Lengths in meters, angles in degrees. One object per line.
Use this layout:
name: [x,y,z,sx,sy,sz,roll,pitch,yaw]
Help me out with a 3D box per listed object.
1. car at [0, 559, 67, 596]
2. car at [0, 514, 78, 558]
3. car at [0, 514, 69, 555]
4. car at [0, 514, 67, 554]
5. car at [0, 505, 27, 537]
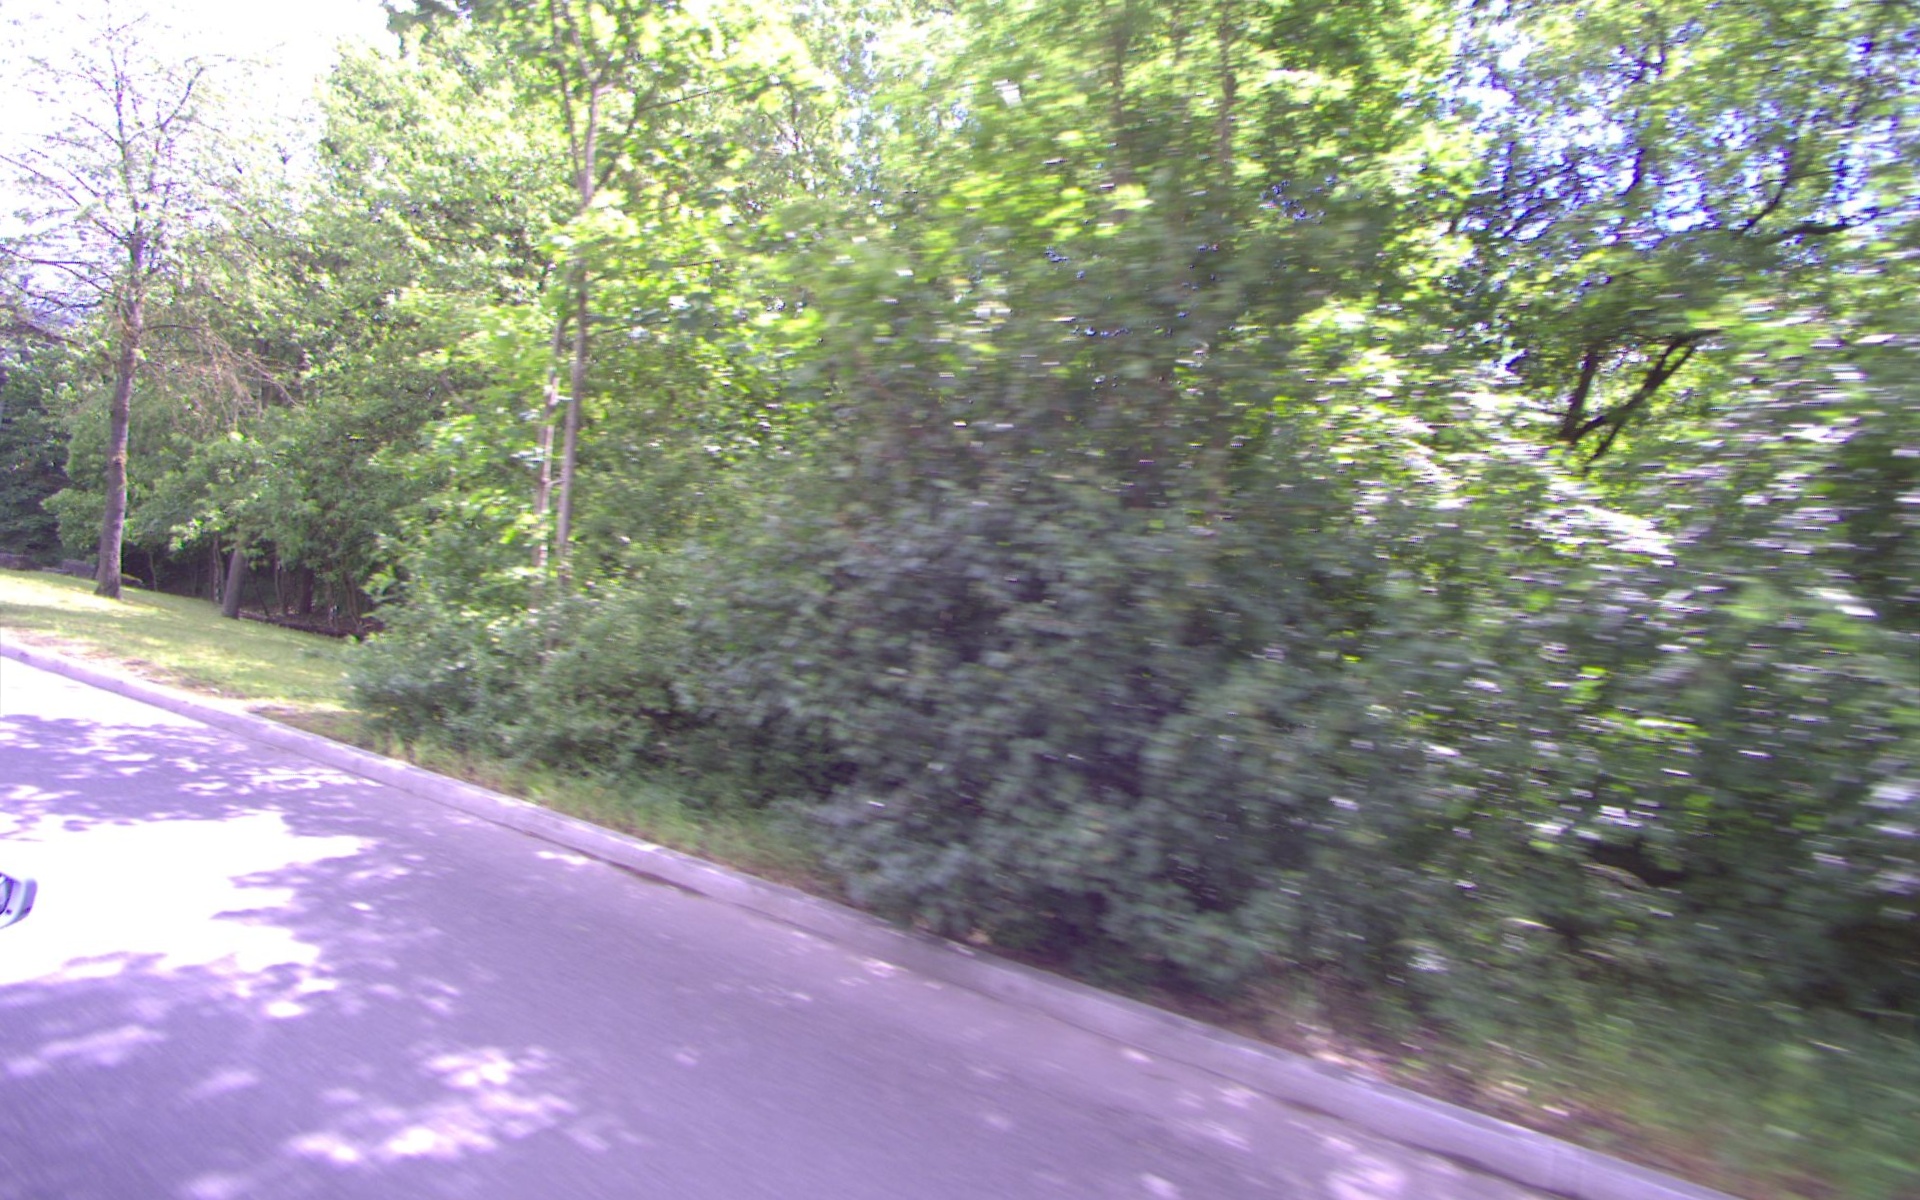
car: [-52.635,-1.372,55.857,1.975,1.504,4.309,5,-5,45]
car: [-47.809,-3.382,51.053,1.975,1.647,4.309,6,-5,45]
car: [-51.078,-3.700,54.245,1.975,1.647,4.309,6,-5,45]
car: [-52.501,-3.810,55.707,1.975,1.647,4.309,6,-5,45]
car: [-58.128,-4.980,59.340,1.975,1.647,4.309,6,-5,45]
